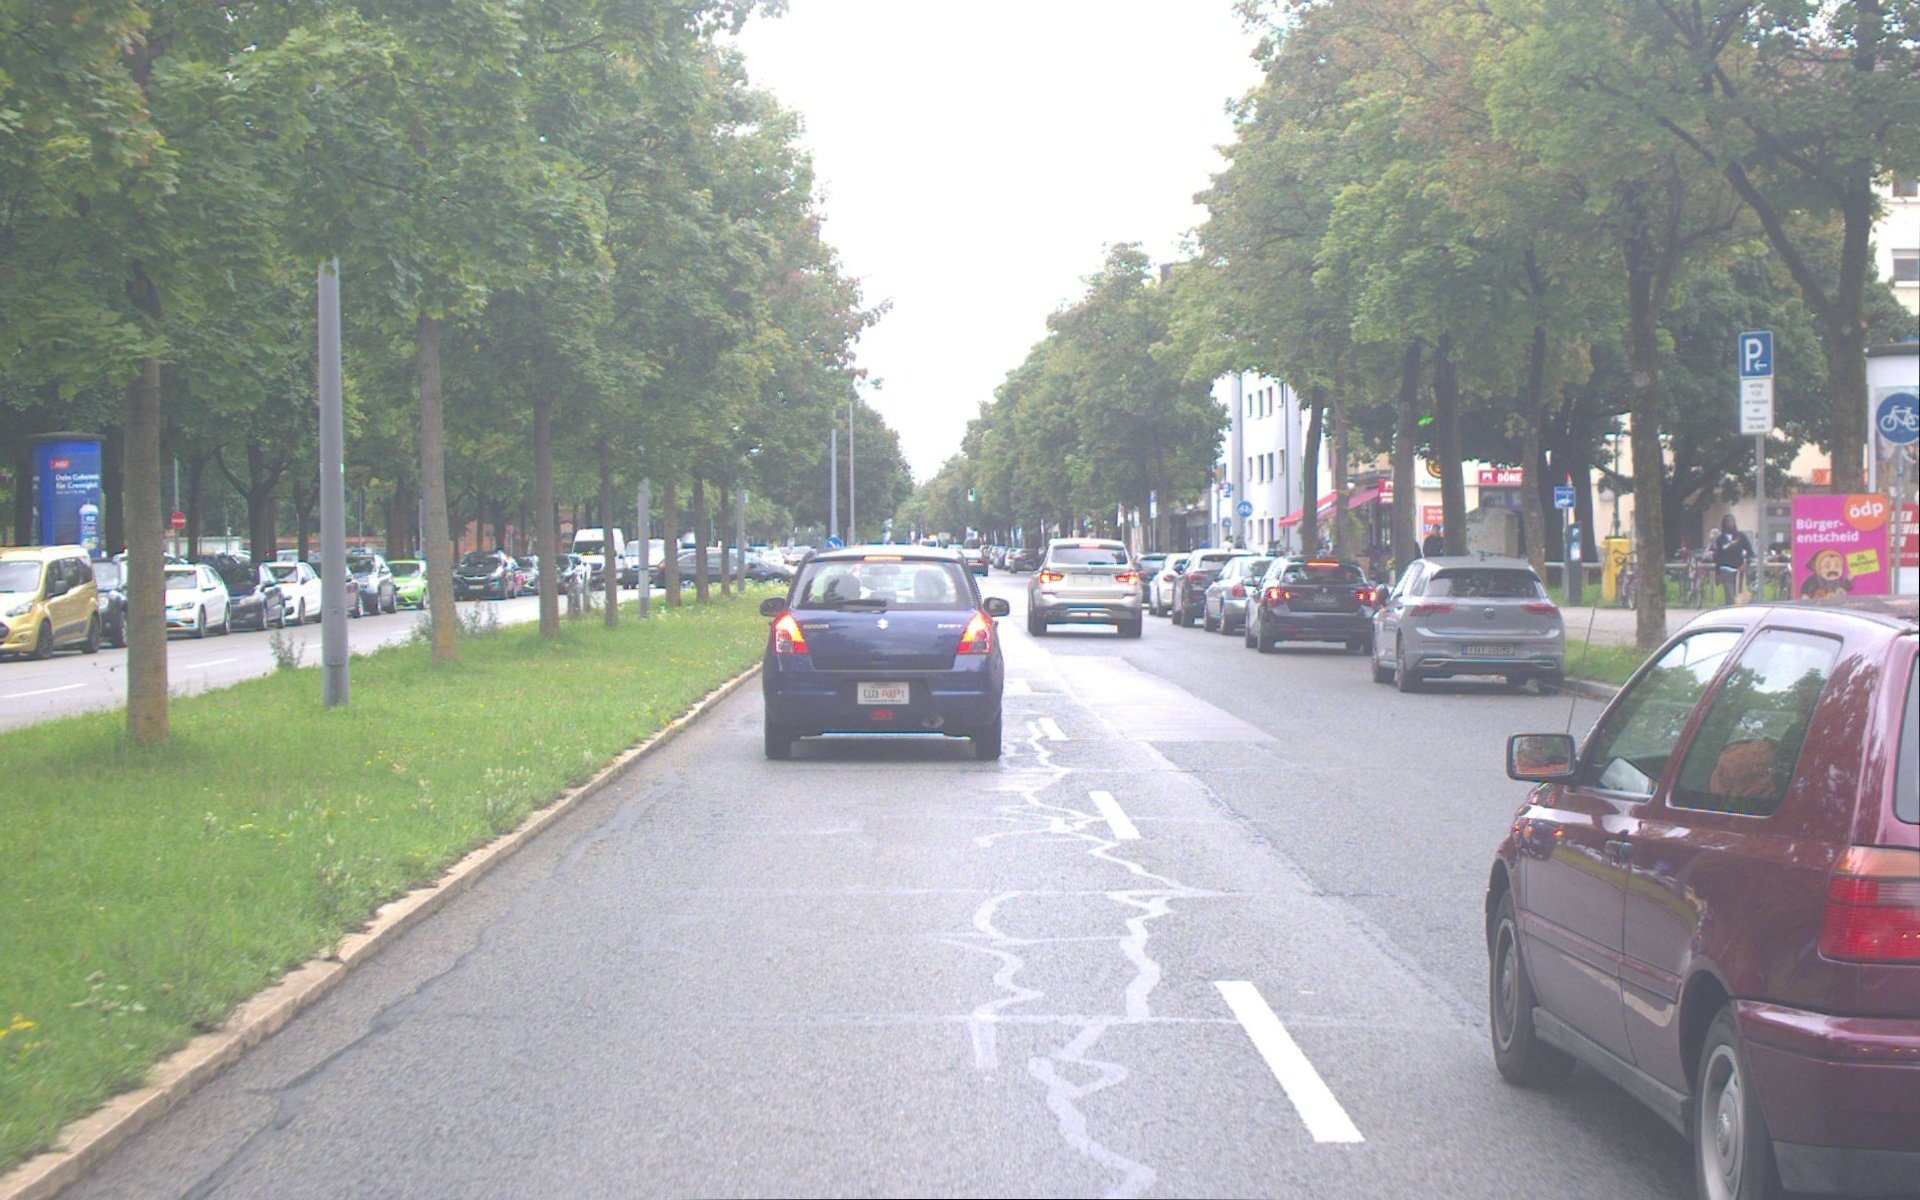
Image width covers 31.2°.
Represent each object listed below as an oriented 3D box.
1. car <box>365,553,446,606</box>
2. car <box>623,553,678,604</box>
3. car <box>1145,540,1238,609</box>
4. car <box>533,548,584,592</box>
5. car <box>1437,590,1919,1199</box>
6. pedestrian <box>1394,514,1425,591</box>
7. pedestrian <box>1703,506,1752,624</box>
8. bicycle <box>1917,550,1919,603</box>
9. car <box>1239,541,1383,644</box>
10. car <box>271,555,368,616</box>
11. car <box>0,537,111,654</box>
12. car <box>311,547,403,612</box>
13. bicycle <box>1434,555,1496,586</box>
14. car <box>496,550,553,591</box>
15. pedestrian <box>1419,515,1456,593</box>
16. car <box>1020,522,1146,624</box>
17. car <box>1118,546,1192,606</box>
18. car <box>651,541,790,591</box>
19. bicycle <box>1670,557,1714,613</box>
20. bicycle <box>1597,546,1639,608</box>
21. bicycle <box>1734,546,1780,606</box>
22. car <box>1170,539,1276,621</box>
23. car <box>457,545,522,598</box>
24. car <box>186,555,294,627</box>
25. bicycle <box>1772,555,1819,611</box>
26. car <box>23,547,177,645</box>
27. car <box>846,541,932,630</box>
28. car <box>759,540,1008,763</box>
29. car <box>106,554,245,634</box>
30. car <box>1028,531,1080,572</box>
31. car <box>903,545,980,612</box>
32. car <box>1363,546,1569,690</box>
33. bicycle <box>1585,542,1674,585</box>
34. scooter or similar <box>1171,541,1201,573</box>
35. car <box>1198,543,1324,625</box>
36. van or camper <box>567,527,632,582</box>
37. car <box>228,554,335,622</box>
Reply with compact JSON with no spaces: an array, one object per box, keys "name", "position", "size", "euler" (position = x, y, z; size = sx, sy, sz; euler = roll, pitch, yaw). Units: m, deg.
[{"name":"car","position":[-15.854,-0.605,98.440],"size":[1.547,1.404,3.879],"euler":[-2,1,2]},{"name":"car","position":[-12.421,-0.878,138.319],"size":[1.799,1.927,4.994],"euler":[-2,1,-1]},{"name":"car","position":[5.238,-0.593,78.155],"size":[1.682,1.460,4.137],"euler":[2,1,-1]},{"name":"car","position":[-16.075,-1.206,137.720],"size":[1.632,1.735,3.879],"euler":[1,1,-1]},{"name":"car","position":[2.325,0.704,8.267],"size":[1.682,1.379,3.919],"euler":[1,1,-2]},{"name":"pedestrian","position":[11.054,-1.166,84.554],"size":[0.588,1.883,0.902],"euler":[-1,0,-1]},{"name":"pedestrian","position":[11.524,-0.531,51.601],"size":[0.639,1.743,0.848],"euler":[-2,1,15]},{"name":"bicycle","position":[18.474,-0.434,64.634],"size":[0.431,1.025,1.884],"euler":[-1,1,0]},{"name":"car","position":[5.247,-0.143,51.848],"size":[1.750,1.460,4.176],"euler":[1,1,1]},{"name":"car","position":[-15.677,-0.367,84.320],"size":[1.591,1.392,3.630],"euler":[-2,1,1]},{"name":"car","position":[-15.229,-0.089,55.360],"size":[1.814,1.777,4.818],"euler":[-2,1,1]},{"name":"car","position":[-15.769,-0.556,90.107],"size":[1.690,1.581,4.371],"euler":[-2,1,-1]},{"name":"bicycle","position":[15.813,-0.912,107.629],"size":[1.847,0.954,0.557],"euler":[1,0,-1]},{"name":"car","position":[-15.947,-1.094,125.994],"size":[1.667,1.440,3.879],"euler":[1,1,-1]},{"name":"pedestrian","position":[11.735,-1.130,84.573],"size":[0.729,1.883,0.919],"euler":[-1,0,-1]},{"name":"car","position":[2.070,-0.487,59.212],"size":[1.865,1.655,4.408],"euler":[1,1,-2]},{"name":"car","position":[5.007,-0.632,88.638],"size":[1.617,1.460,3.674],"euler":[2,1,-1]},{"name":"car","position":[-7.267,-1.048,104.267],"size":[4.121,1.463,1.840],"euler":[0,1,-6]},{"name":"bicycle","position":[13.826,-0.295,64.942],"size":[0.431,1.025,1.884],"euler":[-1,1,0]},{"name":"bicycle","position":[12.553,-0.452,65.605],"size":[0.431,1.129,1.884],"euler":[-1,1,0]},{"name":"bicycle","position":[14.991,-0.461,64.701],"size":[0.431,1.097,1.884],"euler":[-1,1,0]},{"name":"car","position":[5.177,-0.423,68.146],"size":[1.716,1.528,4.276],"euler":[1,1,0]},{"name":"car","position":[-15.817,-0.978,115.610],"size":[1.716,1.735,3.879],"euler":[1,1,-1]},{"name":"car","position":[-15.333,-0.216,73.336],"size":[1.613,1.412,3.898],"euler":[-2,1,-3]},{"name":"bicycle","position":[15.696,-0.329,64.609],"size":[0.431,1.025,1.884],"euler":[-1,1,0]},{"name":"car","position":[-15.473,-0.109,62.032],"size":[1.736,1.640,4.256],"euler":[-2,1,-1]},{"name":"car","position":[-1.237,-0.268,59.313],"size":[1.444,1.478,3.107],"euler":[0,1,-2]},{"name":"car","position":[-0.572,0.316,25.253],"size":[1.682,1.496,3.919],"euler":[0,1,-2]},{"name":"car","position":[-15.506,-0.143,68.139],"size":[1.762,1.445,4.533],"euler":[-2,1,-1]},{"name":"car","position":[3.879,-2.018,142.194],"size":[1.865,1.677,4.225],"euler":[-1,1,-2]},{"name":"car","position":[-0.418,-0.504,76.987],"size":[1.682,1.458,3.734],"euler":[0,1,0]},{"name":"car","position":[5.527,0.159,37.966],"size":[1.682,1.460,4.115],"euler":[1,1,1]},{"name":"bicycle","position":[15.025,-0.809,77.185],"size":[1.877,0.936,0.558],"euler":[1,0,1]},{"name":"scooter or similar","position":[9.342,-1.799,142.240],"size":[1.033,1.303,2.755],"euler":[0,1,0]},{"name":"car","position":[5.407,-0.318,62.155],"size":[1.635,1.381,4.245],"euler":[1,1,-3]},{"name":"van or camper","position":[-16.434,-2.072,157.230],"size":[2.117,2.473,7.449],"euler":[1,1,0]},{"name":"car","position":[-15.604,-0.294,79.261],"size":[1.607,1.439,4.279],"euler":[-2,1,0]}]
